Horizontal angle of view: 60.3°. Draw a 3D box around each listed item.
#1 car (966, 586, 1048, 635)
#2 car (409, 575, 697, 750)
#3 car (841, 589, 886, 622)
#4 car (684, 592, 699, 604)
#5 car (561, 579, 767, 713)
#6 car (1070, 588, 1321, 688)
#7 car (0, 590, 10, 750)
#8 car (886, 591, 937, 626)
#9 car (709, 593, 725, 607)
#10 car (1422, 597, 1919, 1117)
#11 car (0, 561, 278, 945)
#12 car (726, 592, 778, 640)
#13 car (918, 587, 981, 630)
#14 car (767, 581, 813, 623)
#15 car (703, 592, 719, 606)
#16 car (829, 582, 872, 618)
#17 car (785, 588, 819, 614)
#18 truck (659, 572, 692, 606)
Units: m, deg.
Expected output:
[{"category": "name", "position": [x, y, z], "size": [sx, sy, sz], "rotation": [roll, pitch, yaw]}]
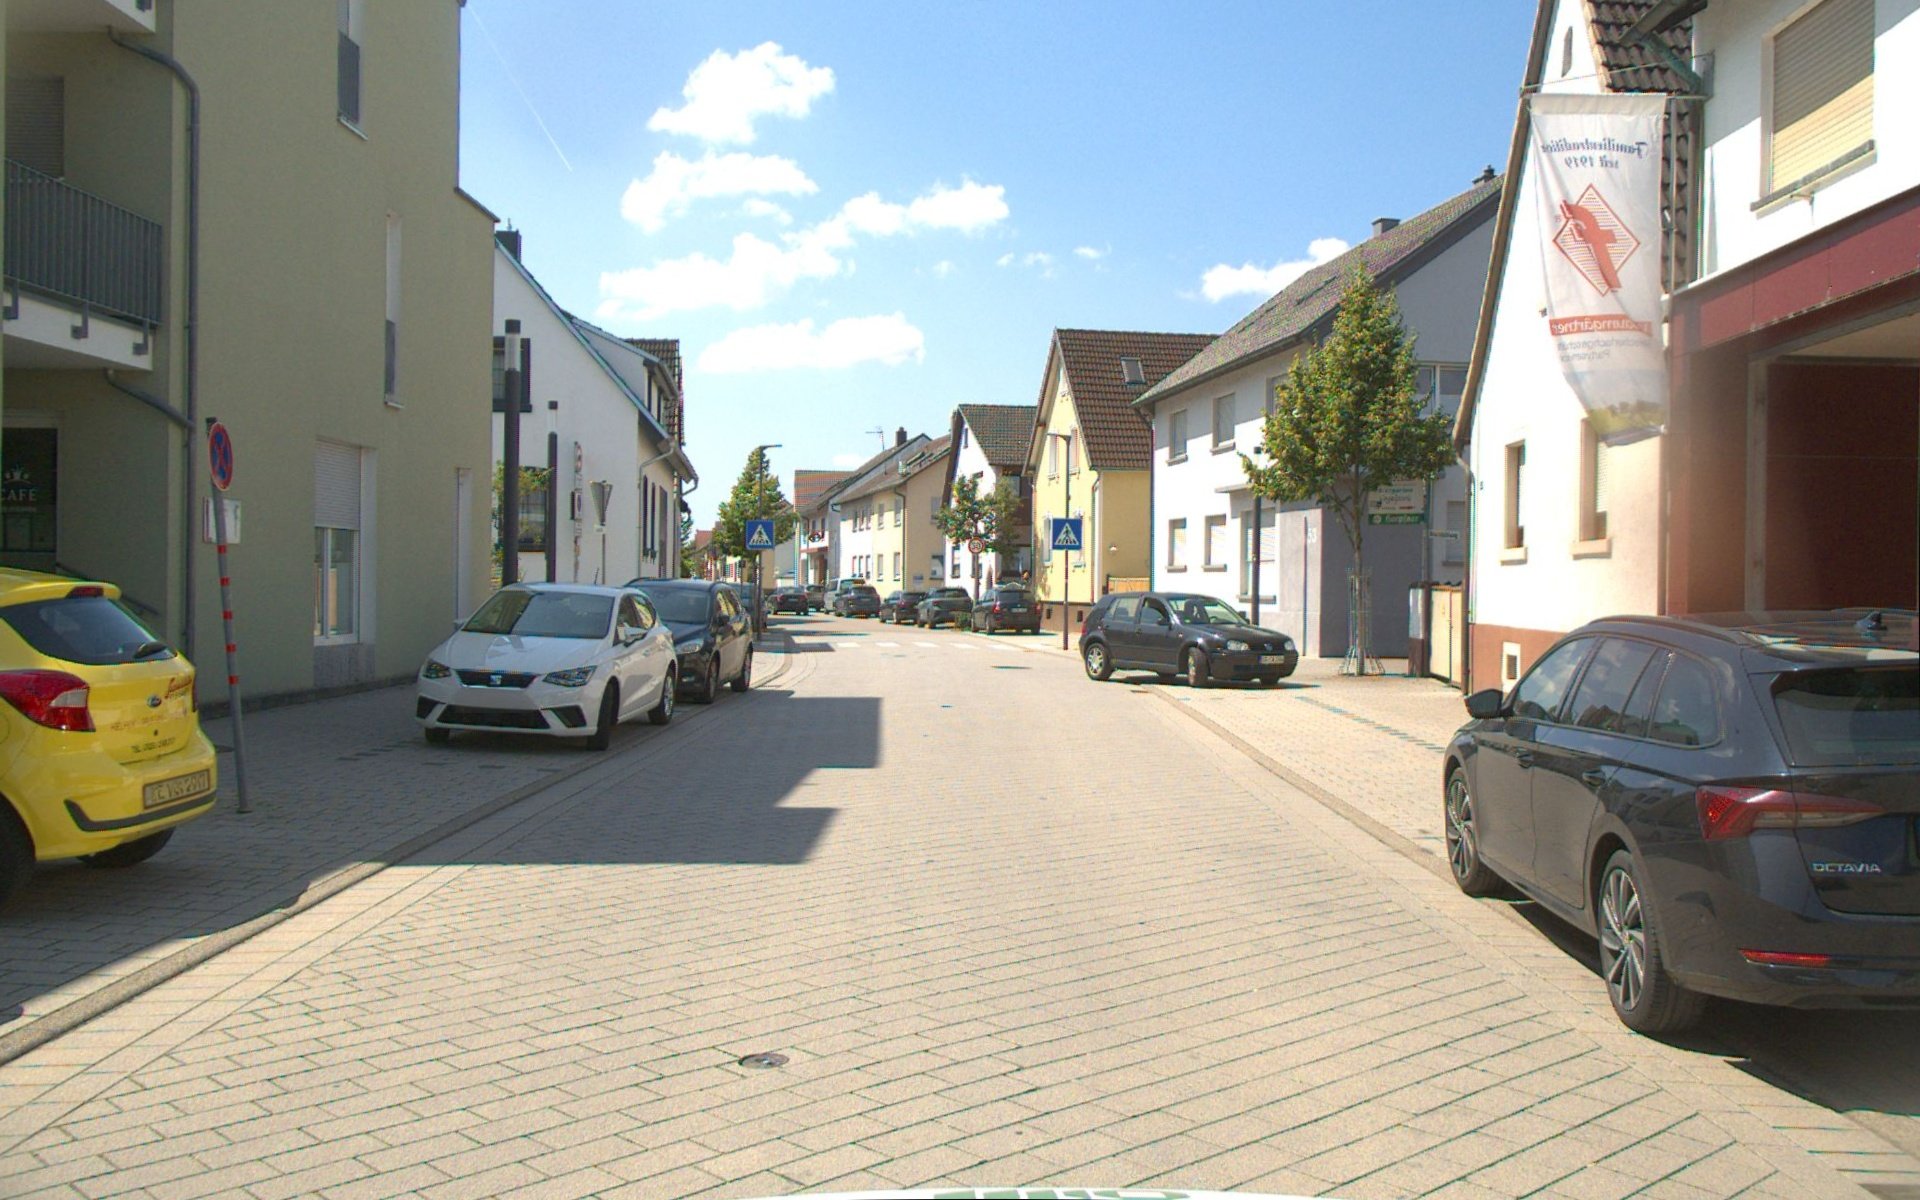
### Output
[{"category": "car", "position": [1.489, 0.334, 53.968], "size": [1.796, 1.497, 4.265], "rotation": [-1, 0, -10]}, {"category": "car", "position": [-3.836, 0.527, 16.257], "size": [1.721, 1.435, 3.878], "rotation": [3, 0, 1]}, {"category": "car", "position": [-4.973, 0.260, 84.546], "size": [1.843, 1.619, 3.990], "rotation": [0, 0, -10]}, {"category": "car", "position": [-34.000, -0.288, 209.185], "size": [1.658, 1.478, 3.780], "rotation": [0, 0, -13]}, {"category": "car", "position": [-3.768, 0.527, 21.792], "size": [1.776, 1.516, 4.278], "rotation": [2, 0, 1]}, {"category": "car", "position": [3.672, 0.550, 26.448], "size": [1.744, 1.463, 4.071], "rotation": [-1, 0, -33]}, {"category": "car", "position": [-5.536, 0.574, 5.319], "size": [3.905, 1.466, 1.691], "rotation": [4, 0, 1]}, {"category": "car", "position": [-2.106, 0.352, 71.094], "size": [1.680, 1.411, 3.696], "rotation": [0, 0, -10]}, {"category": "car", "position": [-25.995, -0.030, 176.891], "size": [1.657, 1.478, 3.783], "rotation": [0, 0, -10]}, {"category": "car", "position": [3.402, 0.756, 7.116], "size": [1.819, 1.484, 4.588], "rotation": [-1, 0, 4]}, {"category": "car", "position": [-5.409, 0.557, 7.792], "size": [3.616, 1.551, 1.673], "rotation": [3, 0, 2]}, {"category": "car", "position": [-7.370, 0.549, 58.496], "size": [1.714, 1.556, 3.993], "rotation": [2, 0, -8]}, {"category": "car", "position": [-0.446, 0.308, 63.322], "size": [1.813, 1.590, 3.684], "rotation": [0, 0, -10]}, {"category": "car", "position": [-8.767, 0.084, 84.992], "size": [1.958, 2.094, 4.362], "rotation": [0, 0, -11]}, {"category": "car", "position": [-28.083, -0.144, 186.244], "size": [1.657, 1.478, 3.782], "rotation": [0, 0, -11]}, {"category": "car", "position": [-5.993, -0.015, 90.061], "size": [1.872, 1.904, 3.990], "rotation": [0, 0, -10]}, {"category": "car", "position": [-9.464, 0.037, 98.771], "size": [1.722, 1.519, 3.990], "rotation": [0, 0, -10]}, {"category": "truck", "position": [-34.457, -1.324, 200.169], "size": [3.503, 4.023, 8.552], "rotation": [0, 0, -13]}]
